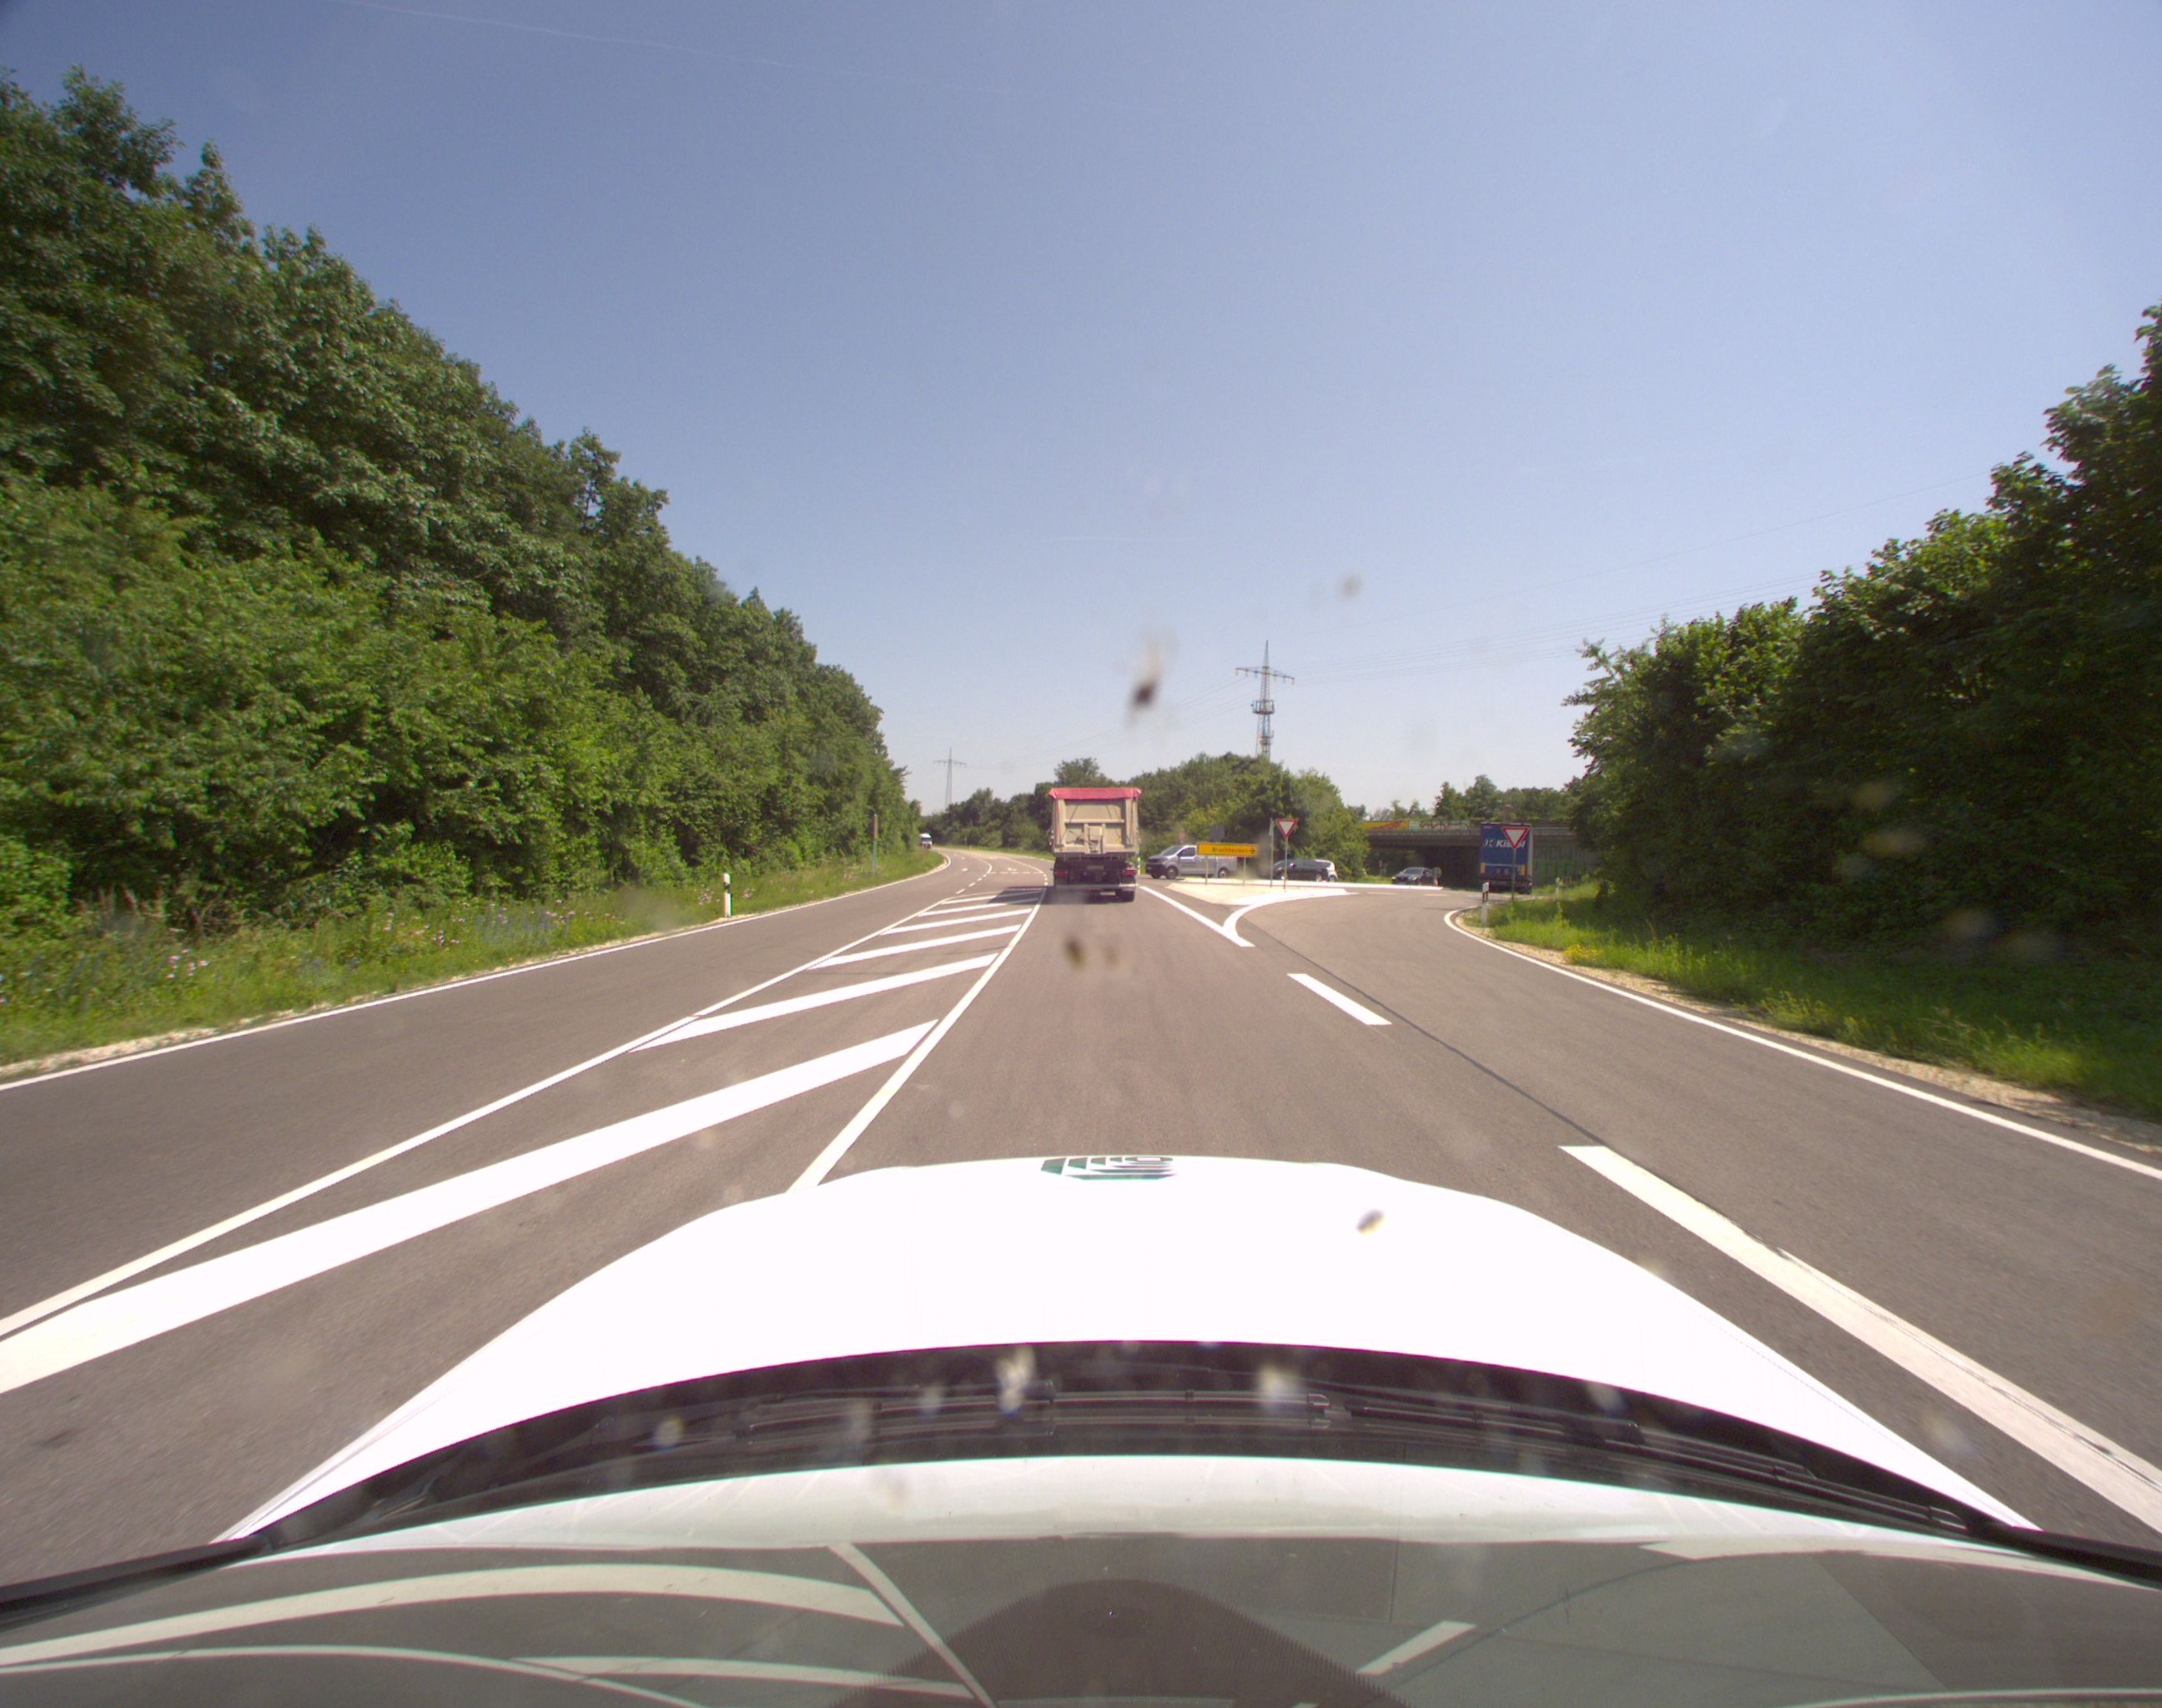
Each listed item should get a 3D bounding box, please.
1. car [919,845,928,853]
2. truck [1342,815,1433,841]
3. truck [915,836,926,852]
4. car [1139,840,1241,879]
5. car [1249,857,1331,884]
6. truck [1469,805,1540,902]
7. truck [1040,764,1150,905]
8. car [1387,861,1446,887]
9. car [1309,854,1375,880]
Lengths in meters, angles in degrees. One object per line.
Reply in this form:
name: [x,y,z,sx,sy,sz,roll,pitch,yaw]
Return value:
car: [-34.582,-1.027,178.630,1.844,1.779,4.873,0,0,-12]
truck: [53.872,-4.455,144.209,4.460,3.919,16.572,0,0,-26]
truck: [-39.453,-2.477,200.412,2.627,3.670,8.765,0,0,-10]
car: [6.005,0.316,44.832,5.235,1.907,1.998,2,-1,-23]
car: [12.218,0.947,47.578,4.572,1.474,1.852,0,0,-26]
truck: [27.494,-0.046,52.414,3.330,5.315,15.437,-1,0,30]
truck: [0.116,-0.626,28.982,2.888,3.962,11.915,0,1,-4]
car: [22.289,1.333,54.029,4.114,1.598,1.791,2,-1,-36]
car: [16.807,0.815,52.495,4.005,1.580,1.828,0,0,-29]
